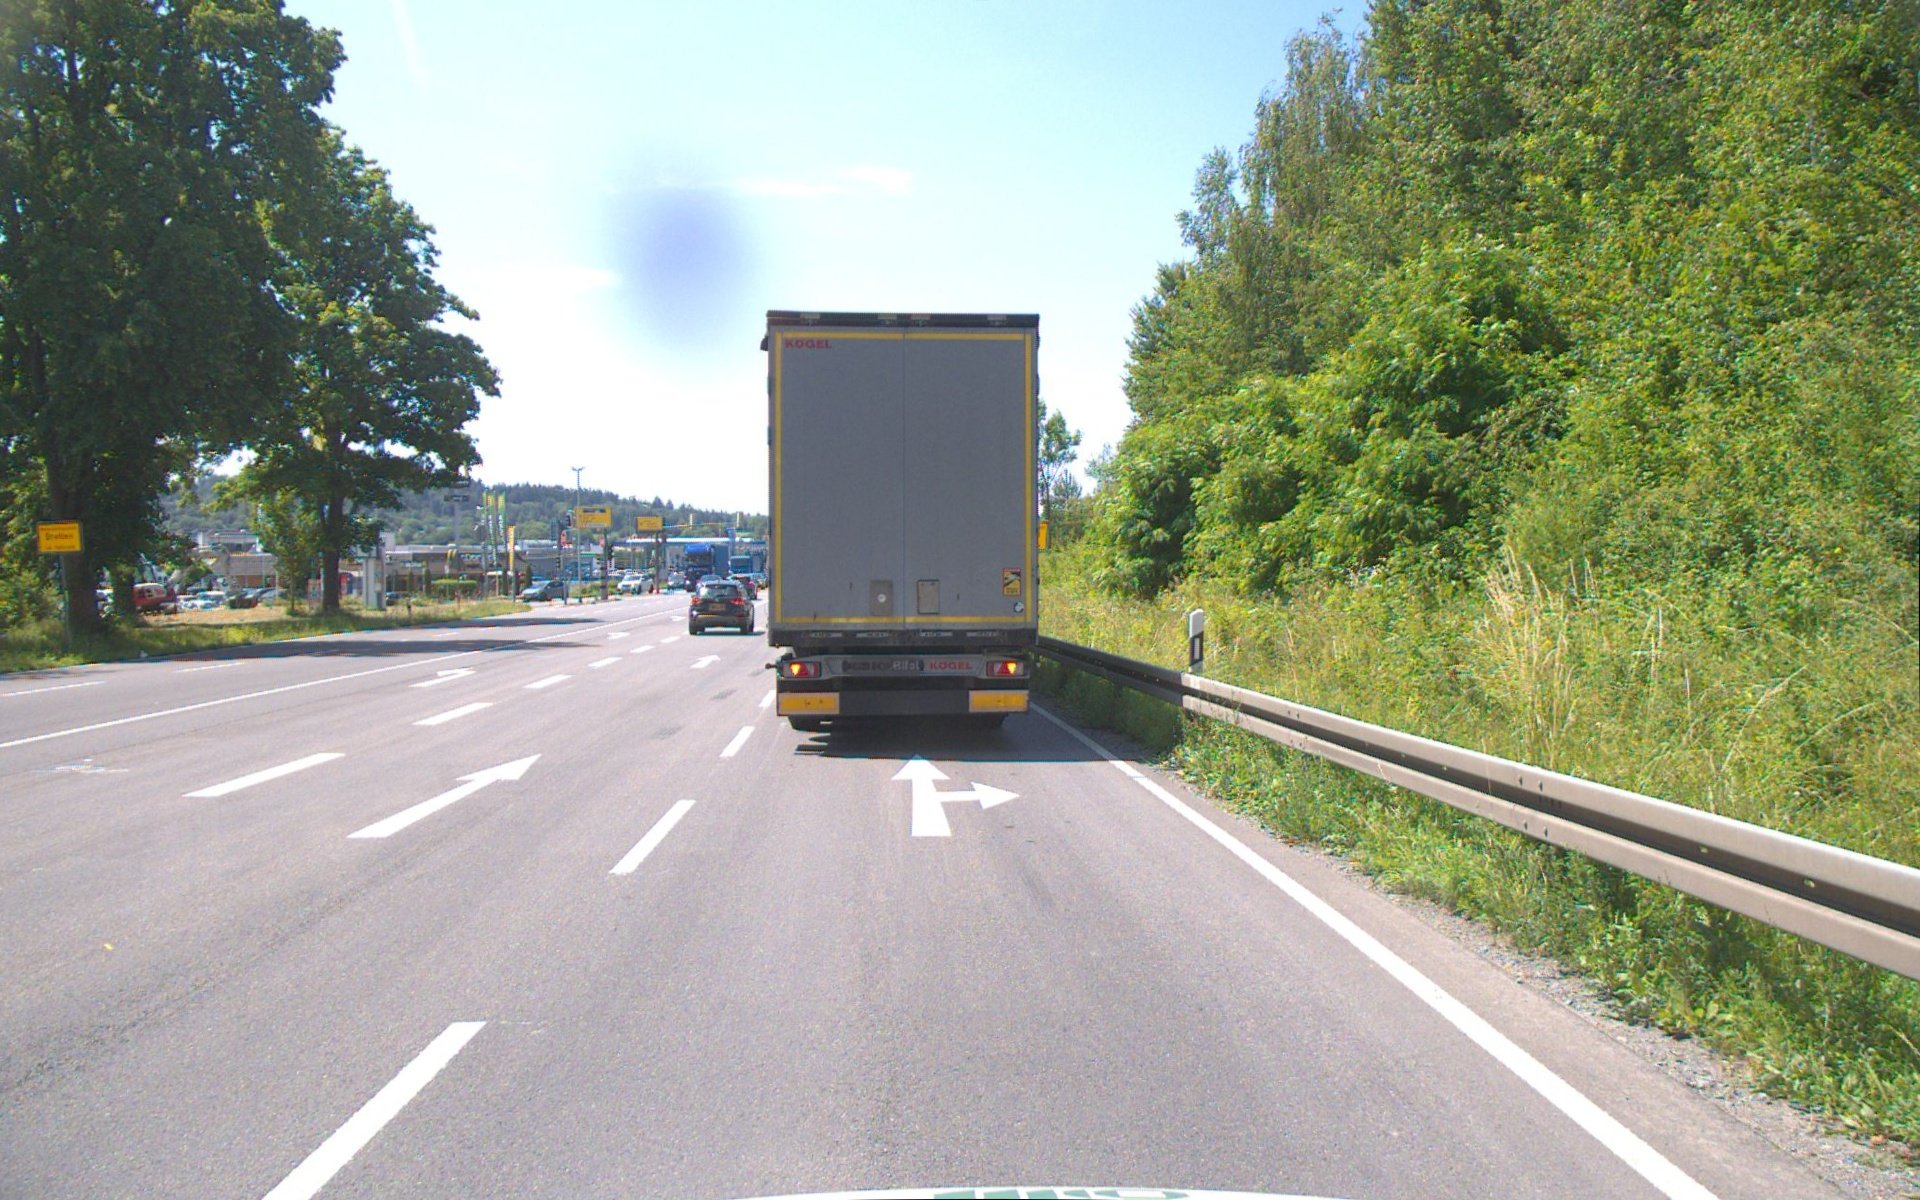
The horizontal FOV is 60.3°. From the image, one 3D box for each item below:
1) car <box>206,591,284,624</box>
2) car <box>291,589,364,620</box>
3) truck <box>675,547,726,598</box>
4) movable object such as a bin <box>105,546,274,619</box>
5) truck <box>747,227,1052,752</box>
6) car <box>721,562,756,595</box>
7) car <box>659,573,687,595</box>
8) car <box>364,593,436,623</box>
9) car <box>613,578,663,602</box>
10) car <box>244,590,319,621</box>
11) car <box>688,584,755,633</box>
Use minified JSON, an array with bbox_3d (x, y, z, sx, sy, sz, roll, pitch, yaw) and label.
[{"bbox_3d":[-37.485,0.381,86.706,3.917,1.680,1.994,1,1,34],"label":"car"},{"bbox_3d":[-34.756,0.248,90.887,3.917,1.646,1.834,1,0,34],"label":"car"},{"bbox_3d":[-23.043,-2.375,147.597,2.909,4.249,16.563,0,1,-4],"label":"truck"},{"bbox_3d":[-36.905,-0.859,79.443,2.992,3.356,6.765,0,1,37],"label":"movable object such as a bin"},{"bbox_3d":[-0.915,-0.968,23.355,2.700,4.720,16.646,1,0,-3],"label":"truck"},{"bbox_3d":[-14.331,-1.387,107.192,1.954,2.049,3.997,1,0,-4],"label":"car"},{"bbox_3d":[-26.769,-1.482,154.344,1.953,2.049,3.998,1,0,-2],"label":"car"},{"bbox_3d":[-31.329,0.421,92.505,3.917,1.646,1.834,1,0,34],"label":"car"},{"bbox_3d":[-27.172,-0.855,139.583,1.958,2.049,3.990,1,1,32],"label":"car"},{"bbox_3d":[-36.372,0.279,88.645,3.917,1.646,1.834,1,0,34],"label":"car"},{"bbox_3d":[-6.901,0.246,48.148,1.497,1.364,3.330,1,0,-1],"label":"car"}]
